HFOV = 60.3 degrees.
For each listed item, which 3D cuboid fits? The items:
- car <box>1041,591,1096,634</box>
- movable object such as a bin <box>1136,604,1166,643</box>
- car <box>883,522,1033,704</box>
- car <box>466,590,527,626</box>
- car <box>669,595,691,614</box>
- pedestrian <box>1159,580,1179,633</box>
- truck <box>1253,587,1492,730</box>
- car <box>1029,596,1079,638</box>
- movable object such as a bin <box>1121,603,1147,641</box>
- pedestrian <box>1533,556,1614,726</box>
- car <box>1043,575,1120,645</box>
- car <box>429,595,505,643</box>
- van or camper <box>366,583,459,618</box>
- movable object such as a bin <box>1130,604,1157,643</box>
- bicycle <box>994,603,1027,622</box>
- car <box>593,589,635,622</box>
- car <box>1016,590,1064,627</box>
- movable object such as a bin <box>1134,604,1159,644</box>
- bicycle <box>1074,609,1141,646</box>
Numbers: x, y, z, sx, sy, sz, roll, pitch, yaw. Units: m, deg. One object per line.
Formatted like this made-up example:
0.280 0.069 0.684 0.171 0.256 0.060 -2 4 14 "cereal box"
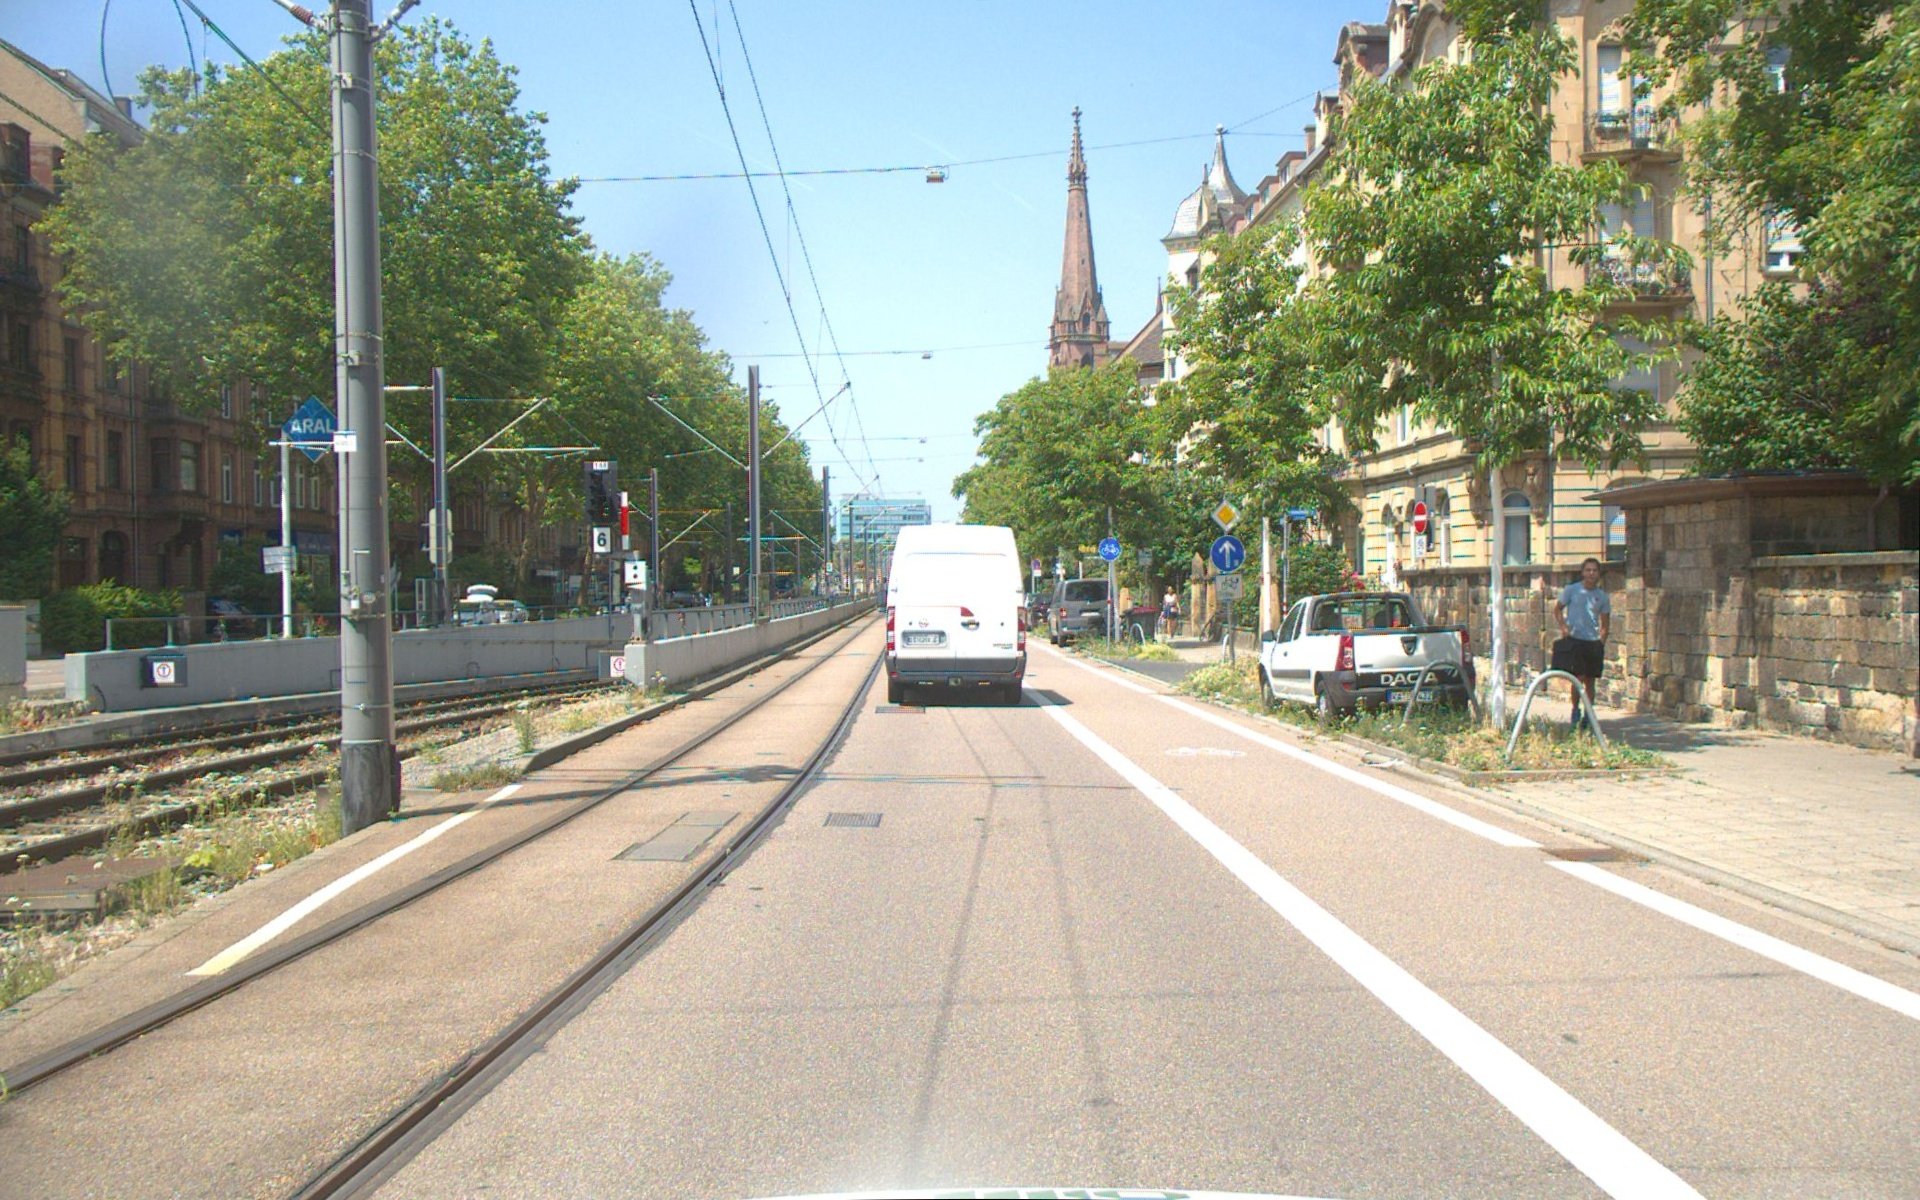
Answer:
3.831 0.426 58.804 1.578 1.430 3.999 -1 0 -2 "car"
5.125 0.627 44.392 0.771 1.031 0.650 -1 0 4 "movable object such as a bin"
-0.143 0.160 25.418 2.075 2.502 5.052 0 0 -3 "car"
-20.957 0.348 74.919 1.753 1.583 4.085 0 0 -3 "car"
-22.618 0.367 133.653 1.345 1.448 3.087 -1 0 -1 "car"
6.466 0.187 51.136 0.540 1.626 0.728 0 0 0 "pedestrian"
4.919 0.627 20.367 1.753 1.553 4.464 0 0 -1 "truck"
3.696 0.645 65.816 1.633 1.557 4.012 -1 0 -2 "car"
4.879 0.617 46.414 0.585 1.028 0.564 0 0 -12 "movable object such as a bin"
6.568 0.433 17.735 0.608 1.785 0.678 0 0 0 "pedestrian"
3.699 0.270 51.165 1.841 1.981 4.835 -2 1 -2 "car"
-20.637 0.763 69.450 1.953 1.937 4.716 0 0 -3 "car"
-30.213 0.015 91.278 4.448 1.869 1.933 -1 0 4 "van or camper"
5.066 0.653 45.747 0.730 1.080 0.496 0 0 4 "movable object such as a bin"
2.763 0.688 90.797 1.804 0.970 0.503 -1 0 0 "bicycle"
-18.734 0.293 89.609 1.621 1.714 3.705 0 0 -3 "car"
3.449 0.346 71.683 1.694 1.562 4.402 0 0 -2 "car"
5.073 0.649 44.982 0.655 1.080 0.496 -1 0 4 "movable object such as a bin"
4.218 0.785 47.203 1.848 1.009 0.469 -1 0 -12 "bicycle"
